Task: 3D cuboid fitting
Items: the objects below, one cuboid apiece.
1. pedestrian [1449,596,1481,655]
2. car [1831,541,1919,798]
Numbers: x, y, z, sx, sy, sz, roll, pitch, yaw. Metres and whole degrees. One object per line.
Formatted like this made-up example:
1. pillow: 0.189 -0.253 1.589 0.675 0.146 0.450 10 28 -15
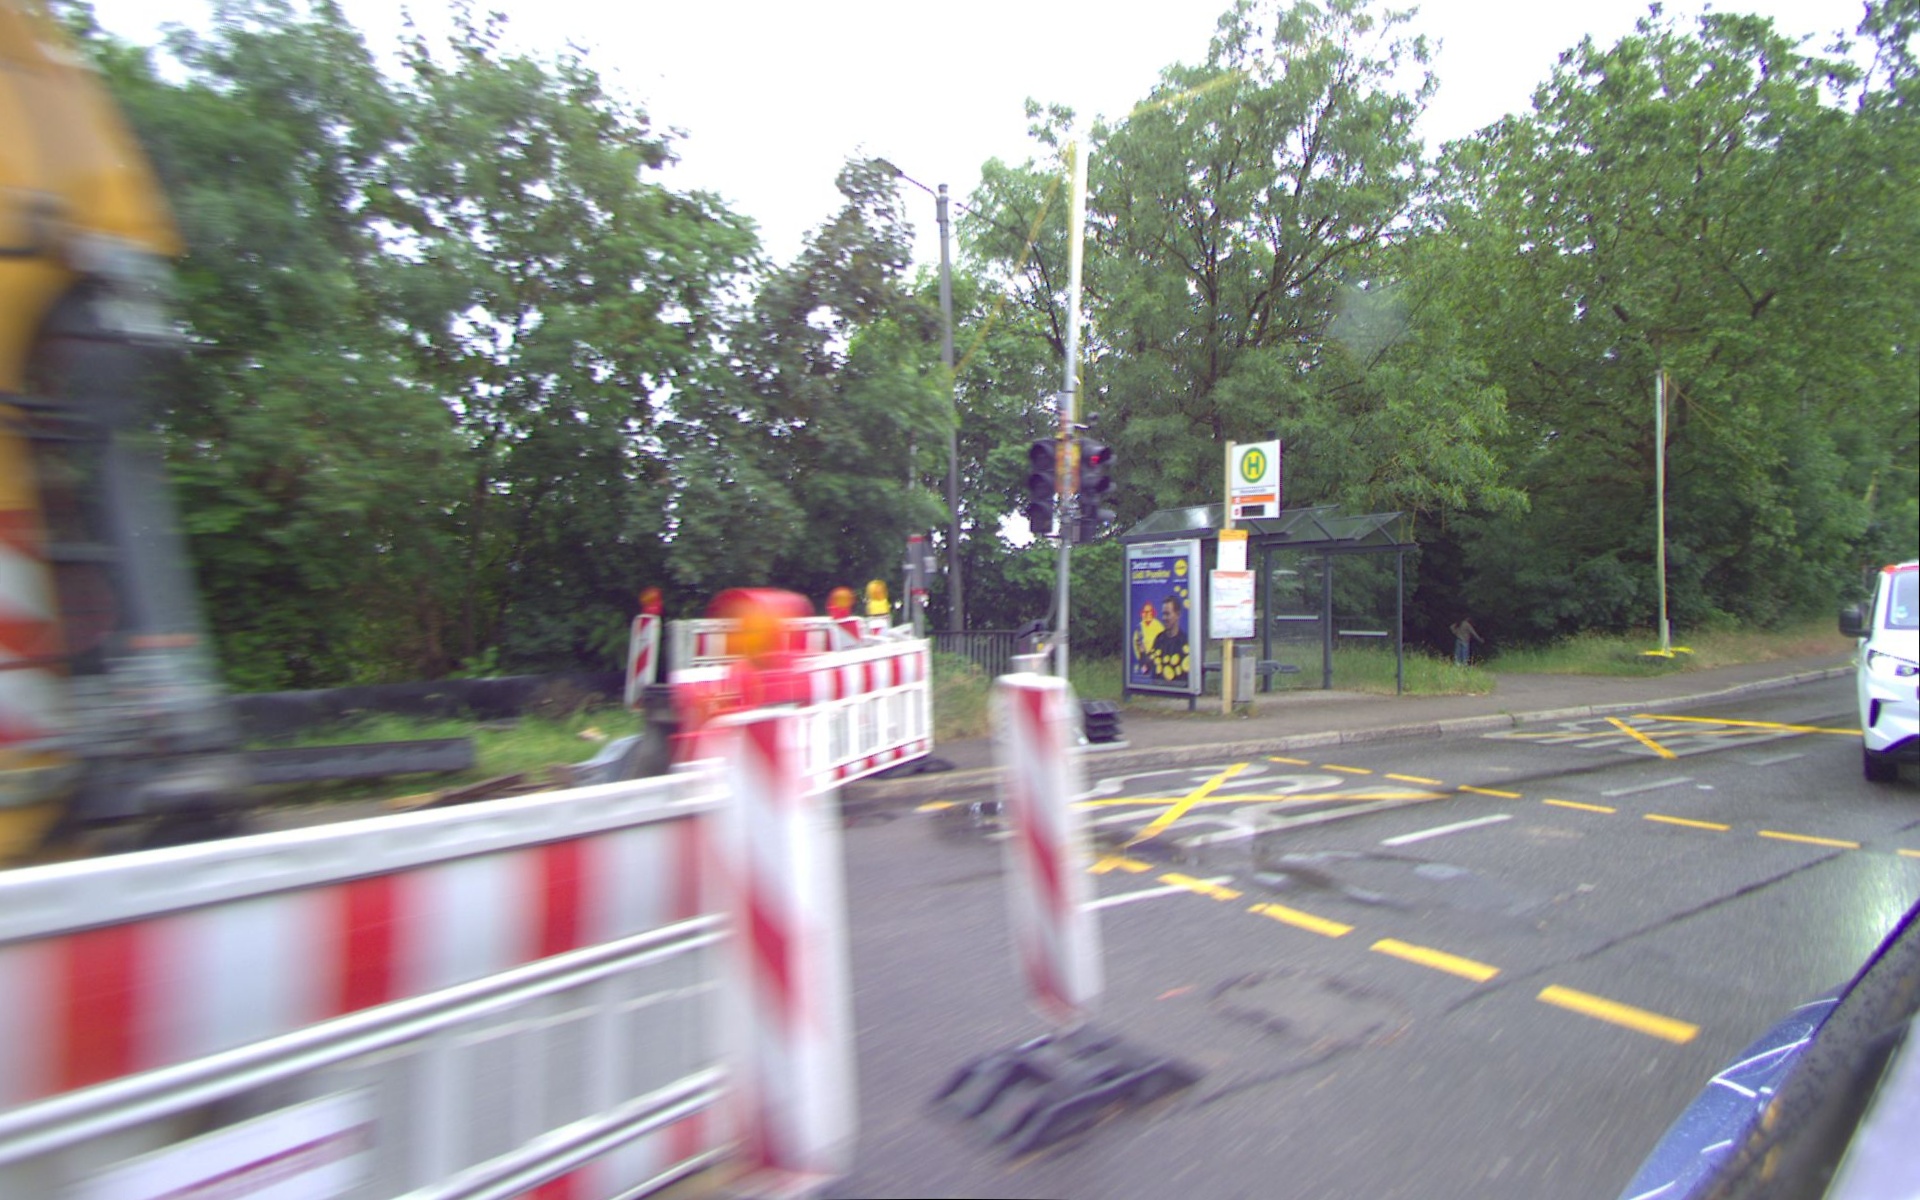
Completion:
1. pedestrian: 14.151 0.709 28.379 0.726 1.624 0.744 -2 -1 29
2. car: 9.407 0.463 8.876 5.121 1.918 2.042 -1 -1 -42
